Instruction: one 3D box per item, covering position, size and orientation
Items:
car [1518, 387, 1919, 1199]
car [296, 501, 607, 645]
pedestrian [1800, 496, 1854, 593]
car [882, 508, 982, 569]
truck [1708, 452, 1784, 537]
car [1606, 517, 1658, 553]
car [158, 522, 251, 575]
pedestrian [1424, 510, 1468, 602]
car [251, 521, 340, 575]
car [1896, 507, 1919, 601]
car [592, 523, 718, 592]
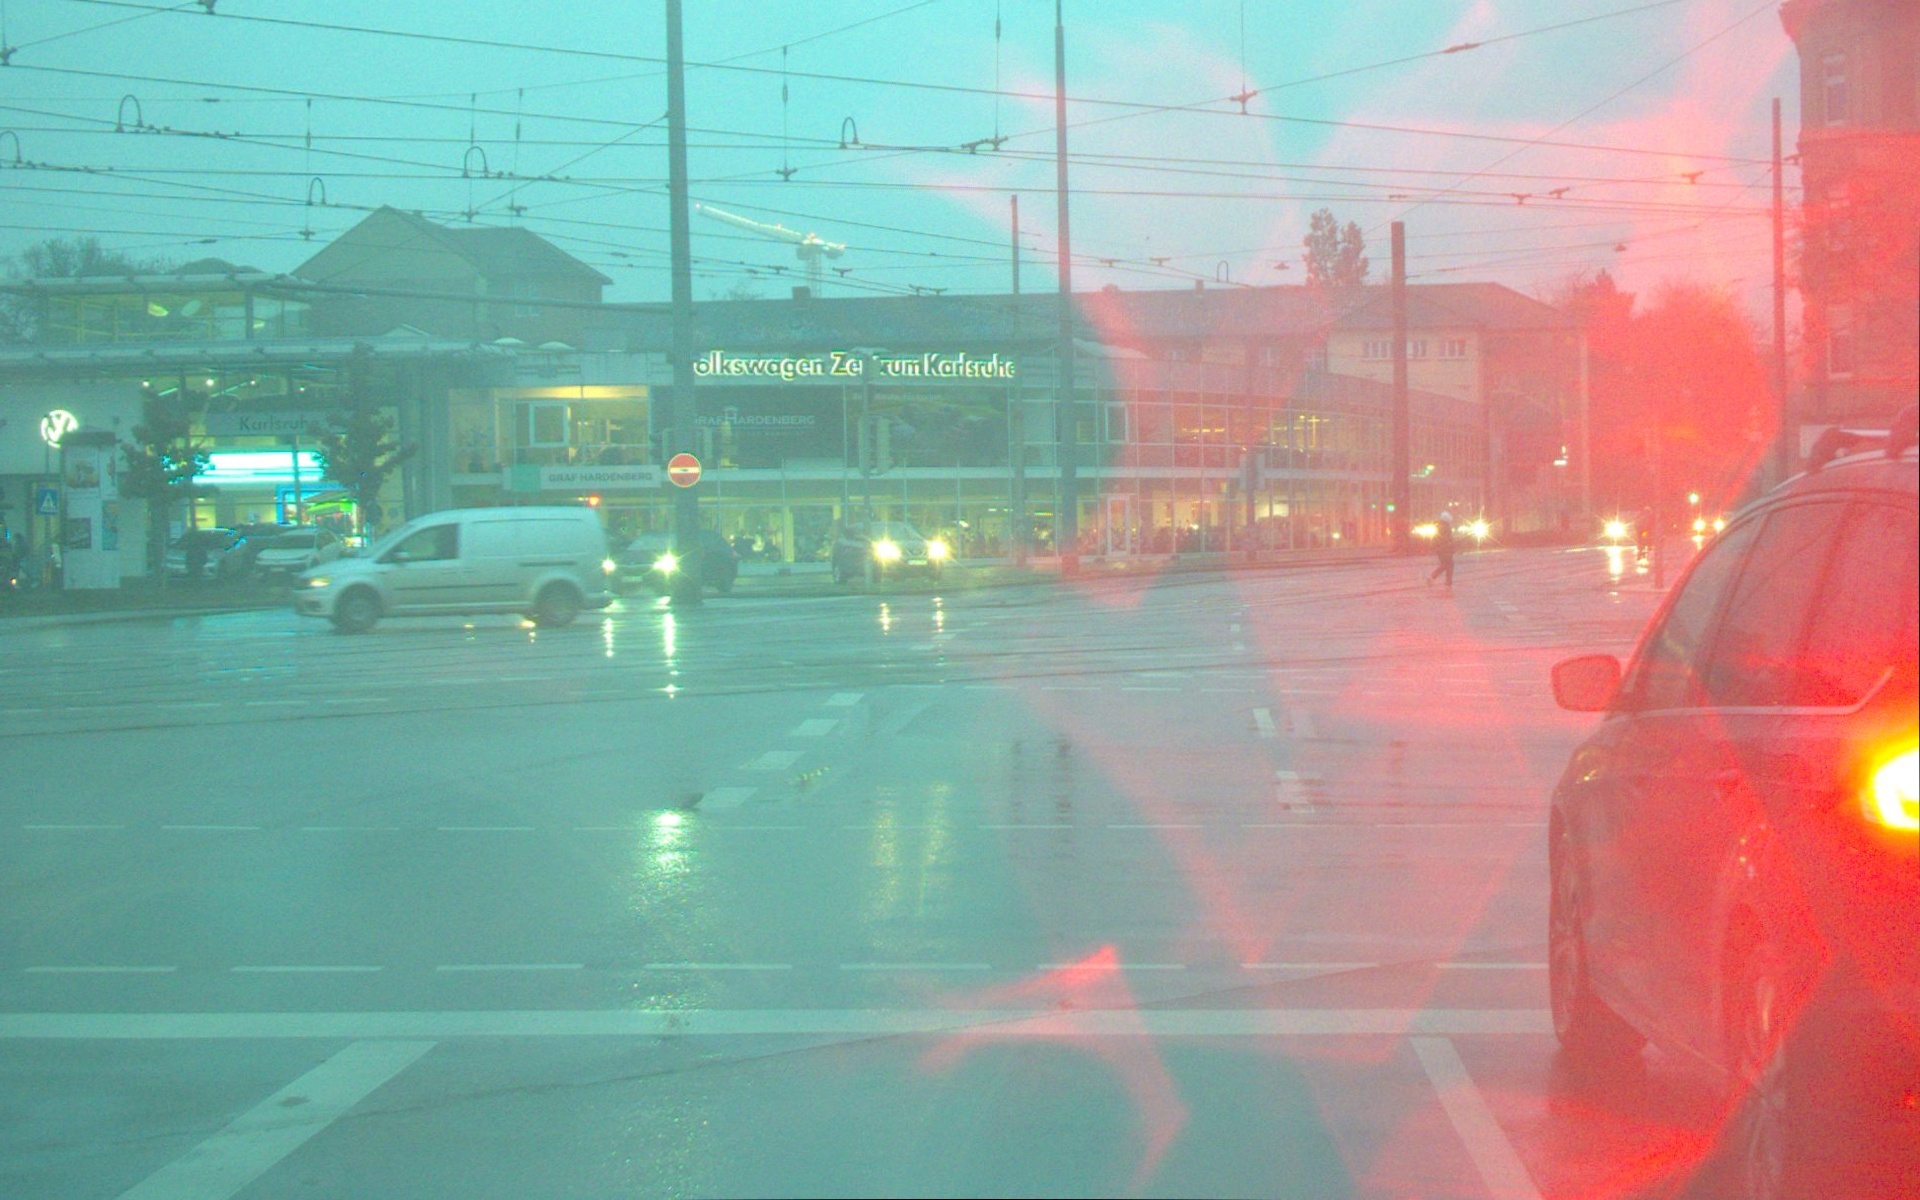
[{"bbox_3d":[2.529,0.458,8.323,1.778,1.794,4.424,0,2,2],"label":"car"},{"bbox_3d":[-7.732,-0.379,52.207,4.401,2.007,1.912,1,-2,-18],"label":"car"},{"bbox_3d":[18.074,-1.156,71.684,0.728,2.007,0.789,-1,1,-29],"label":"pedestrian"},{"bbox_3d":[-0.667,-1.527,85.544,1.814,1.441,3.999,-1,1,9],"label":"car"},{"bbox_3d":[25.806,-3.431,112.751,1.995,2.682,5.111,-1,1,18],"label":"truck"},{"bbox_3d":[30.801,-2.979,157.453,1.864,1.596,3.783,-1,1,18],"label":"car"},{"bbox_3d":[-23.604,-1.616,107.494,1.862,1.596,4.000,-1,1,2],"label":"car"},{"bbox_3d":[9.781,-0.884,69.180,0.591,1.834,0.619,-2,1,-34],"label":"pedestrian"},{"bbox_3d":[-20.698,-1.626,107.235,1.862,1.596,4.000,-1,1,2],"label":"car"},{"bbox_3d":[19.259,-0.851,60.999,4.797,1.651,1.741,-1,1,-4],"label":"car"},{"bbox_3d":[-6.727,-0.960,76.283,1.814,1.441,3.999,-1,1,9],"label":"car"}]
